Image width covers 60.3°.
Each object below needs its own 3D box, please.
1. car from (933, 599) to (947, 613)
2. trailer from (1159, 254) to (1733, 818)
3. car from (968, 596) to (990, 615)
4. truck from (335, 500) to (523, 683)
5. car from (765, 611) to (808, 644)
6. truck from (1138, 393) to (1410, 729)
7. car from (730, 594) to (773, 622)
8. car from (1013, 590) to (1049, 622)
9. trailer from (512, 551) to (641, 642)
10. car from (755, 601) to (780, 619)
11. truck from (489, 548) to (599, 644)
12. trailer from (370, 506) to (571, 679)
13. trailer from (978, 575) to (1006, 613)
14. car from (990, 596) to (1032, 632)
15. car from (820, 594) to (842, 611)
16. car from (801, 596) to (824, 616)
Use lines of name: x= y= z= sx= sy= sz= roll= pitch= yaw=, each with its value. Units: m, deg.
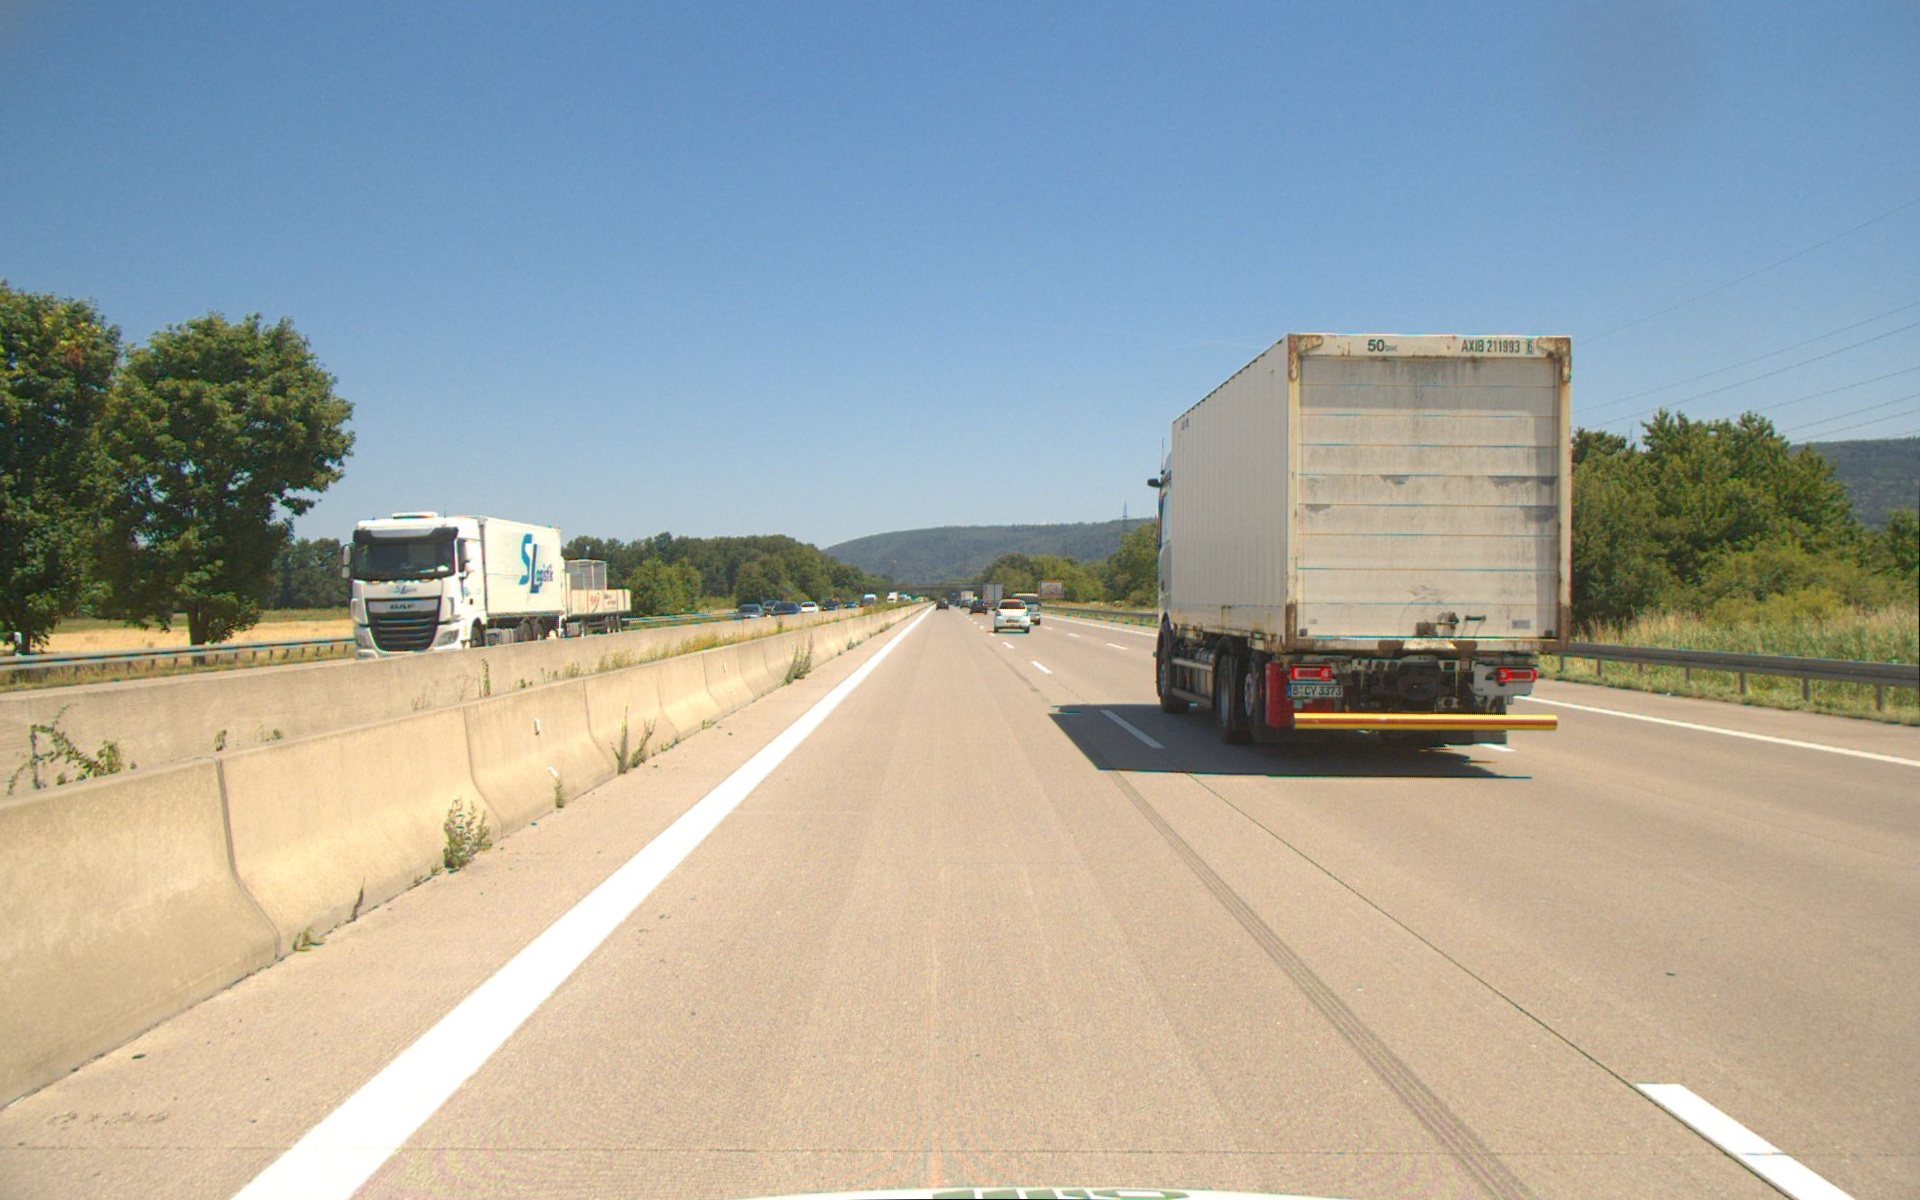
car: x=-2.763 y=0.811 z=231.287 sx=1.890 sy=1.825 sz=3.999 roll=1 pitch=0 yaw=-1
trailer: x=4.072 y=-0.456 z=16.882 sx=2.528 sy=3.945 sz=10.370 roll=1 pitch=0 yaw=-1
car: x=1.925 y=0.529 z=170.104 sx=1.953 sy=1.881 sz=3.998 roll=2 pitch=0 yaw=-2
truck: x=-12.488 y=-0.188 z=39.337 sx=2.841 sy=4.039 sz=5.044 roll=1 pitch=0 yaw=-1
car: x=-9.811 y=1.530 z=93.886 sx=1.953 sy=1.747 sz=5.024 roll=1 pitch=0 yaw=0
truck: x=3.990 y=-0.465 z=22.074 sx=2.529 sy=3.945 sz=4.982 roll=1 pitch=0 yaw=-2
car: x=-13.487 y=0.526 z=107.259 sx=1.923 sy=1.747 sz=5.127 roll=1 pitch=0 yaw=2
car: x=4.366 y=0.376 z=102.757 sx=1.953 sy=1.881 sz=3.999 roll=1 pitch=0 yaw=-1
trailer: x=-17.241 y=-0.167 z=75.505 sx=2.746 sy=3.748 sz=13.747 roll=1 pitch=0 yaw=-1
car: x=-18.672 y=0.974 z=160.566 sx=1.953 sy=1.747 sz=4.299 roll=1 pitch=0 yaw=-2
truck: x=-17.229 y=-0.180 z=68.975 sx=2.746 sy=3.752 sz=7.235 roll=1 pitch=0 yaw=-1
trailer: x=-12.565 y=-0.182 z=43.345 sx=2.841 sy=4.039 sz=8.475 roll=1 pitch=0 yaw=-1
trailer: x=5.025 y=-0.930 z=259.355 sx=3.646 sy=5.913 sz=12.156 roll=1 pitch=0 yaw=-2
car: x=2.377 y=0.648 z=78.333 sx=1.782 sy=1.691 sz=3.999 roll=0 pitch=0 yaw=-1
car: x=-14.573 y=0.281 z=187.330 sx=1.952 sy=1.911 sz=5.184 roll=1 pitch=0 yaw=0
car: x=-14.001 y=0.611 z=156.771 sx=1.954 sy=1.747 sz=4.609 roll=1 pitch=-2 yaw=-3
